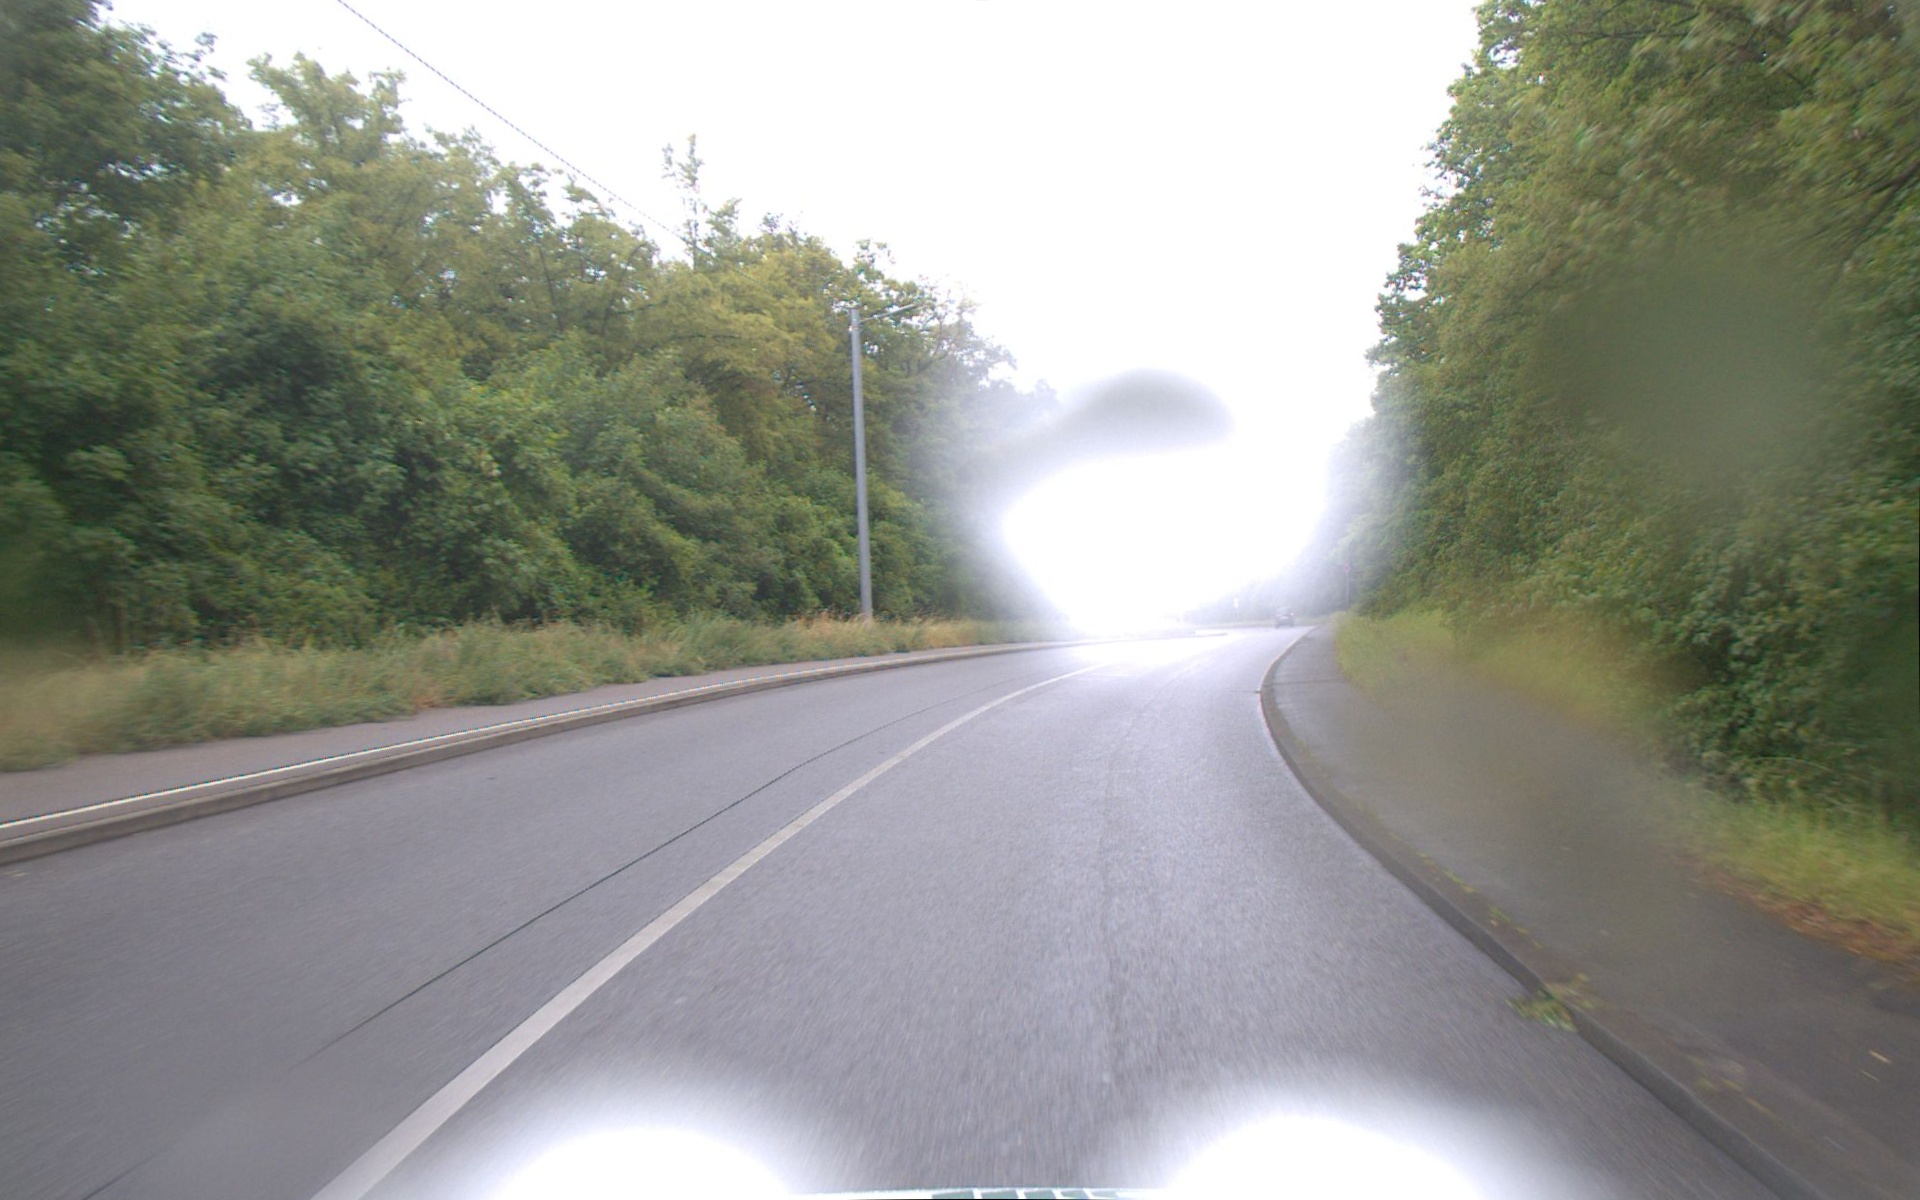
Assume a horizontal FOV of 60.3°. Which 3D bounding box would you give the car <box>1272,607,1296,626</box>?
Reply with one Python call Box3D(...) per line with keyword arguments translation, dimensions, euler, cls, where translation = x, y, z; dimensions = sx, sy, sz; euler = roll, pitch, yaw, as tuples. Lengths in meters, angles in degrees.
Box3D(translation=(30.765, 1.578, 157.098), dimensions=(1.828, 1.624, 4.002), euler=(1, -1, 6), cls="car")
